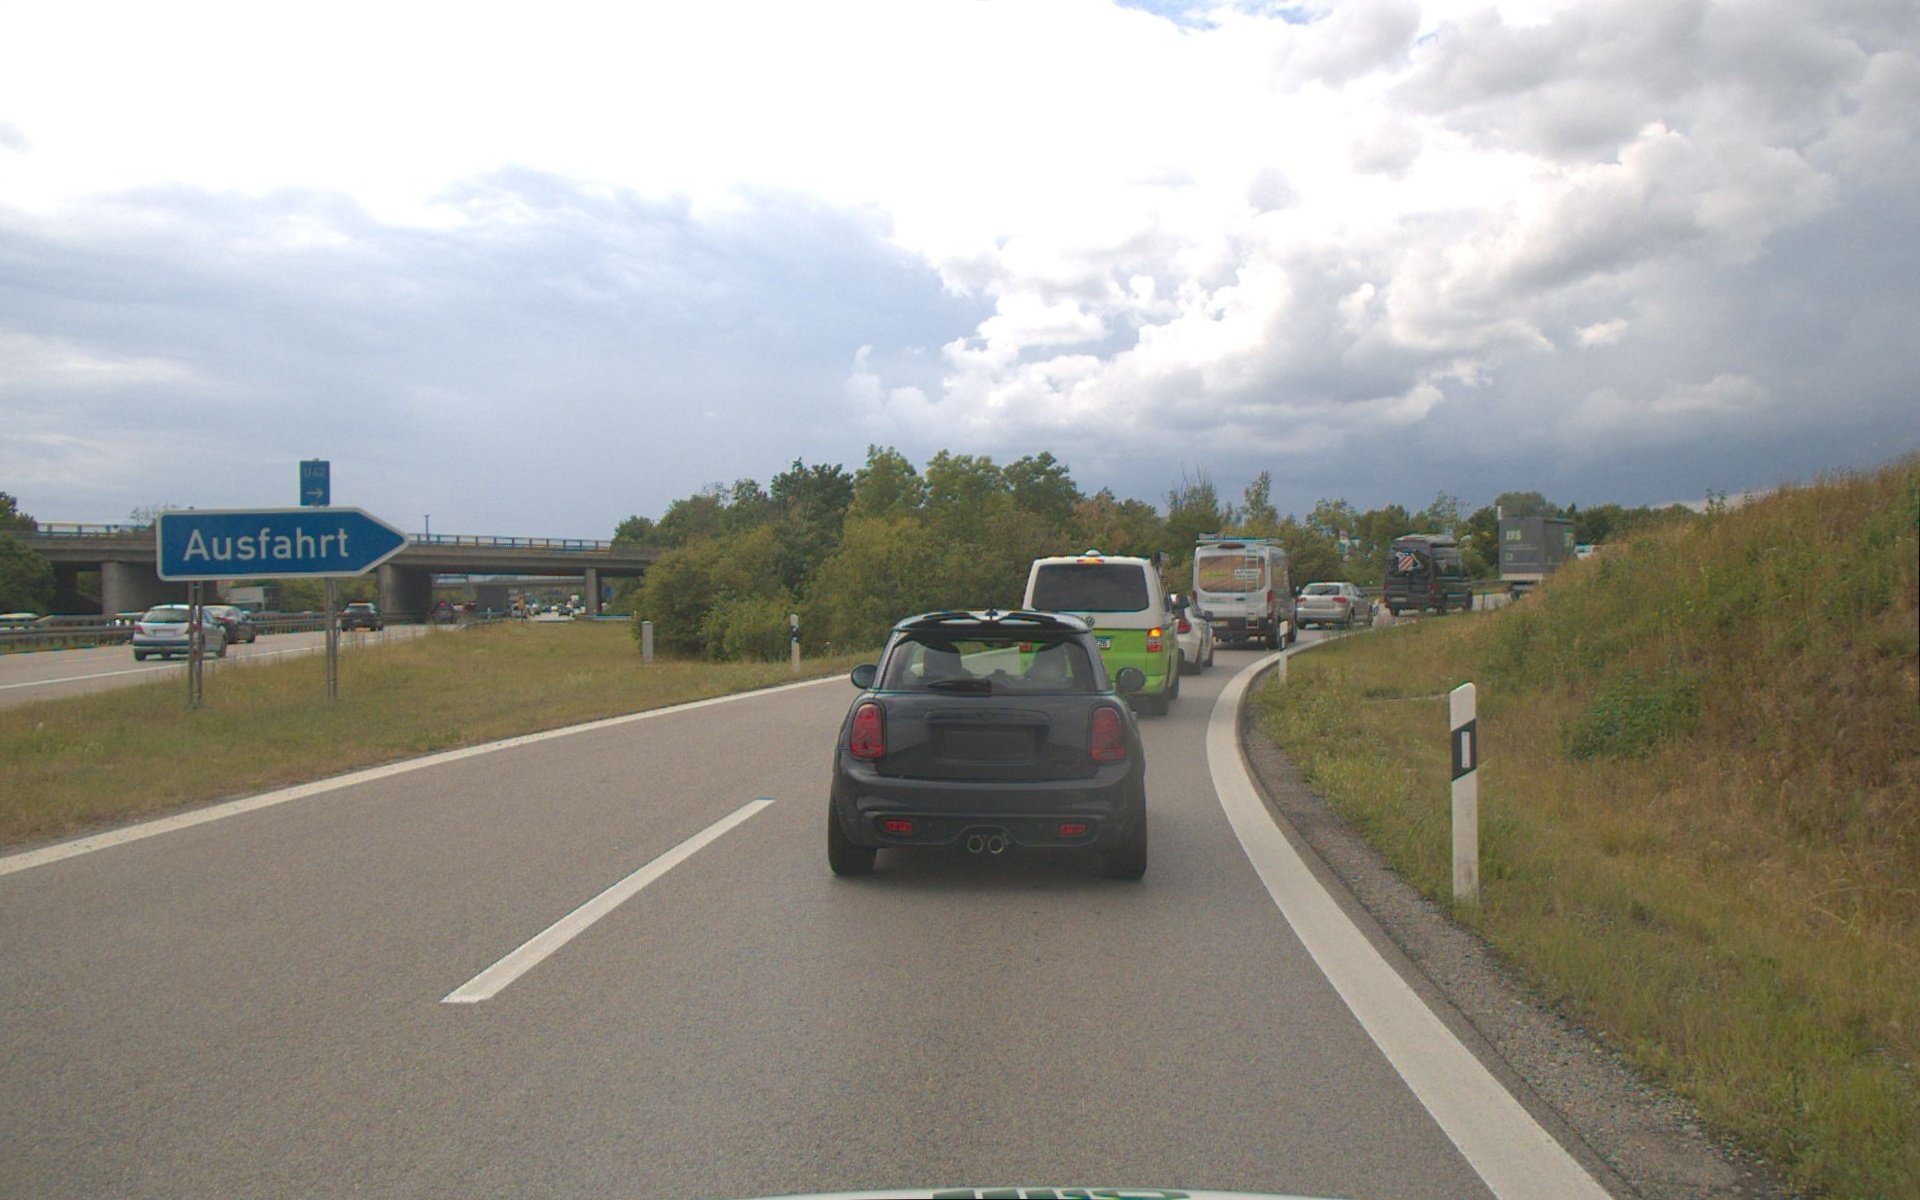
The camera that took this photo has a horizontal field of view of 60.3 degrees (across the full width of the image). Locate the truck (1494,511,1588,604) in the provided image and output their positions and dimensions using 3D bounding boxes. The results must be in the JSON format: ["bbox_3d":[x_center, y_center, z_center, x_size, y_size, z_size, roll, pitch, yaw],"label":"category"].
[{"bbox_3d":[26.885,-1.879,76.390,2.194,3.975,5.986,0,-1,39],"label":"truck"}]

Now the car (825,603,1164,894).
[{"bbox_3d":[0.224,0.751,10.151,1.691,1.438,3.726,0,0,2],"label":"car"}]

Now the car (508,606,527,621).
[{"bbox_3d":[-51.604,1.571,192.971,1.843,1.782,4.475,0,0,-11],"label":"car"}]

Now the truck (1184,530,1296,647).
[{"bbox_3d":[7.058,-0.297,41.202,2.132,2.705,5.112,0,1,17],"label":"truck"}]

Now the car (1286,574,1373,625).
[{"bbox_3d":[11.725,-0.006,52.275,1.829,1.536,3.996,0,0,26],"label":"car"}]

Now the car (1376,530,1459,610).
[{"bbox_3d":[16.936,-1.056,61.077,2.065,2.845,3.993,1,0,29],"label":"car"}]

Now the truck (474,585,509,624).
[{"bbox_3d":[-42.593,0.421,150.483,2.424,3.430,7.899,-1,-1,-12],"label":"truck"}]

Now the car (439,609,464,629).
[{"bbox_3d":[-45.550,1.703,148.265,1.813,1.789,4.322,0,0,-12],"label":"car"}]

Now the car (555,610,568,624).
[{"bbox_3d":[-60.795,2.642,252.428,1.959,2.049,3.986,1,-1,-13],"label":"car"}]

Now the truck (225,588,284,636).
[{"bbox_3d":[-56.071,0.936,131.582,2.710,3.710,8.172,0,0,-12],"label":"truck"}]

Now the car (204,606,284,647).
[{"bbox_3d":[-28.567,1.028,66.116,1.958,1.536,4.765,-1,0,-12],"label":"car"}]

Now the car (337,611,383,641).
[{"bbox_3d":[-36.985,1.562,102.052,1.958,1.774,4.814,-1,0,-12],"label":"car"}]

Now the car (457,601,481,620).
[{"bbox_3d":[-49.690,1.053,167.517,1.958,1.842,3.989,-1,0,-11],"label":"car"}]

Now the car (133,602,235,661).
[{"bbox_3d":[-21.415,0.840,45.782,1.687,1.545,3.988,-1,0,-12],"label":"car"}]

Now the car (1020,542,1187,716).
[{"bbox_3d":[1.972,0.343,21.658,1.746,2.049,4.003,0,0,11],"label":"car"}]

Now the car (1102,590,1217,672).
[{"bbox_3d":[3.760,0.555,30.663,1.724,1.423,3.728,0,0,13],"label":"car"}]
